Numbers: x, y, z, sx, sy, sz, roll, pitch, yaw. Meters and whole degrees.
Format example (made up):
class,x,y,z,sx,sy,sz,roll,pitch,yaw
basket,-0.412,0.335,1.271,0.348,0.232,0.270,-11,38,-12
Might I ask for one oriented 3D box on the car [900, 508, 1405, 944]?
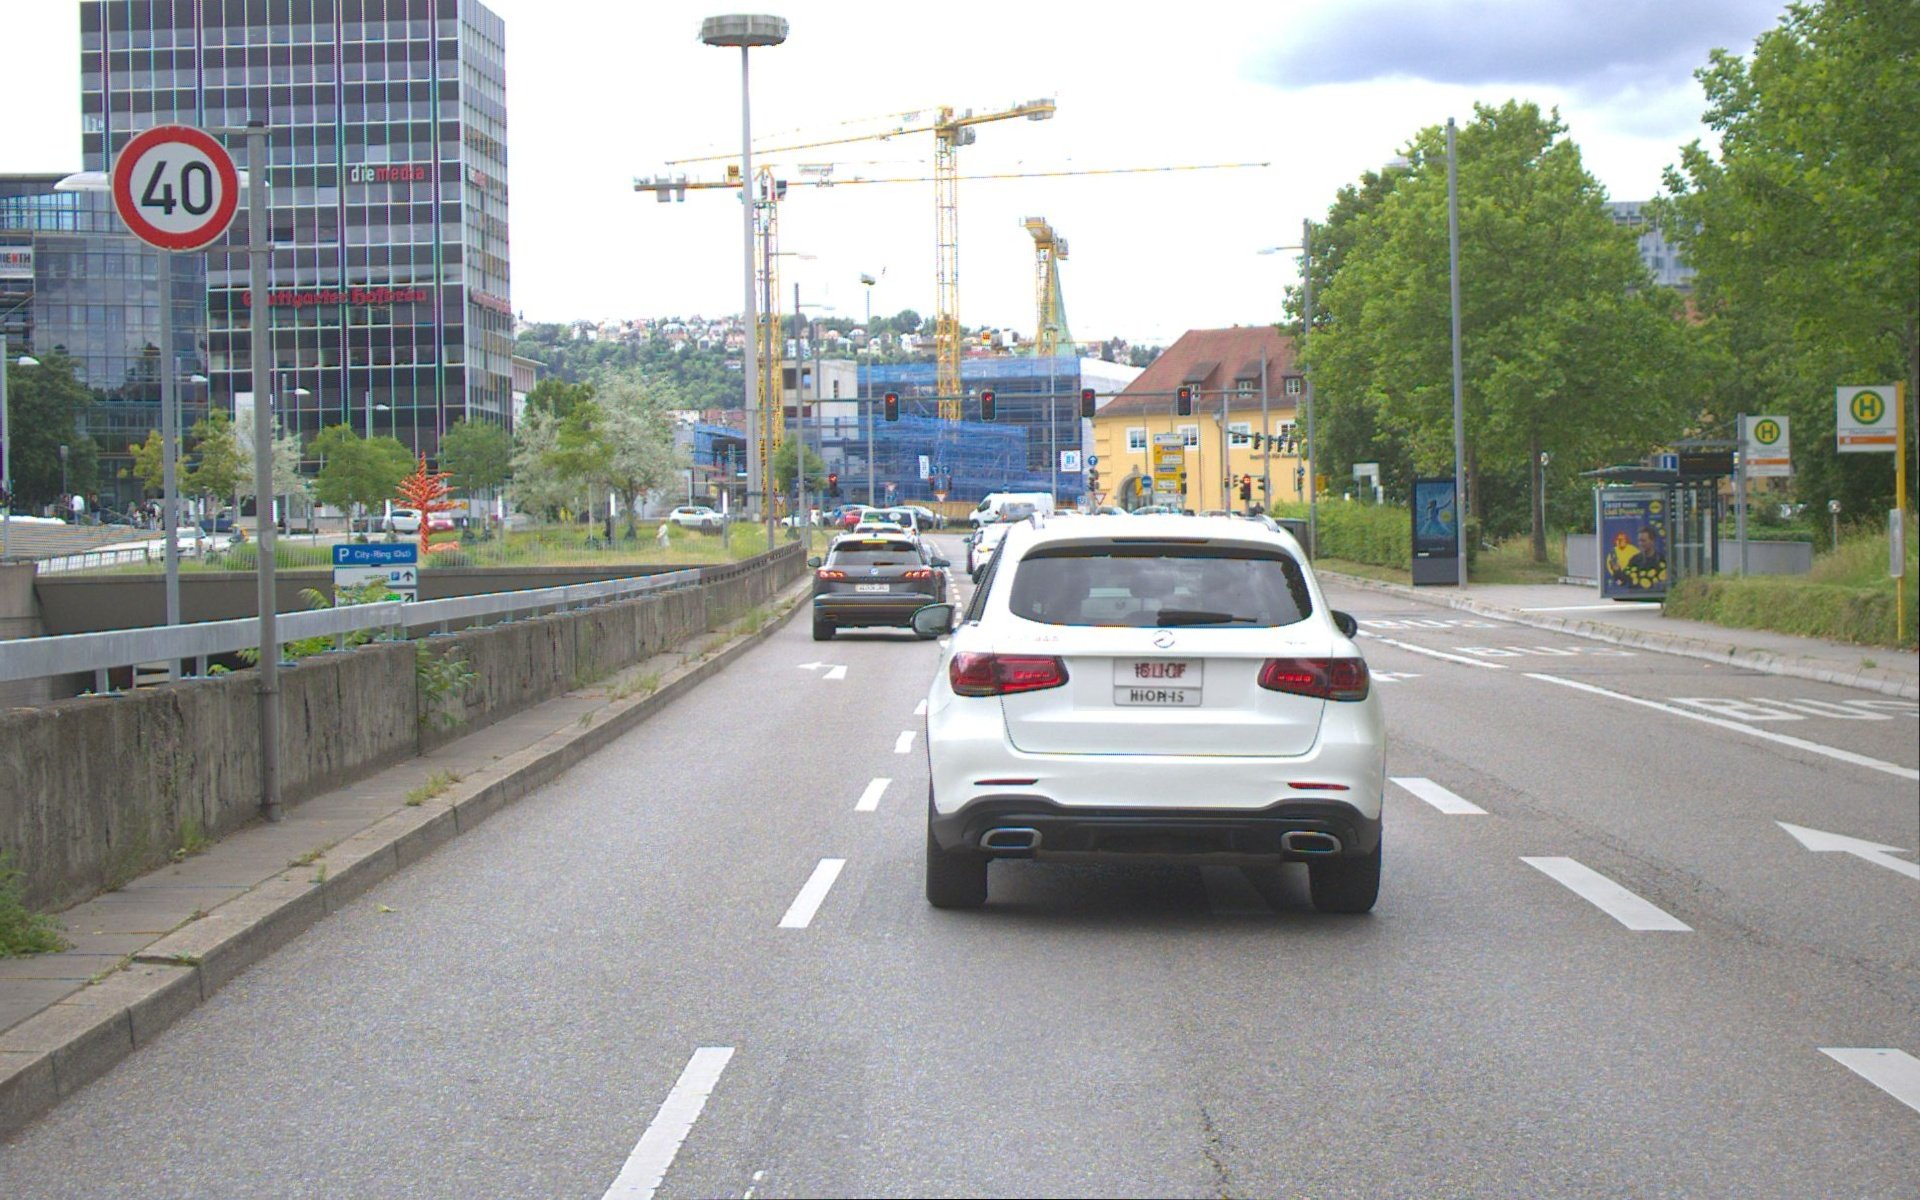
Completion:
class,x,y,z,sx,sy,sz,roll,pitch,yaw
car,0.771,0.467,15.272,1.940,1.678,4.000,0,1,1

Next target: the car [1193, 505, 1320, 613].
class,x,y,z,sx,sy,sz,roll,pitch,yaw
car,5.514,-0.763,64.440,1.977,1.887,4.707,2,0,1

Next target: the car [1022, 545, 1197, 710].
class,x,y,z,sx,sy,sz,roll,pitch,yaw
car,1.548,0.252,36.802,1.672,1.622,4.000,2,1,0

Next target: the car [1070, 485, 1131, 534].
class,x,y,z,sx,sy,sz,roll,pitch,yaw
car,4.744,-3.051,116.488,1.719,1.579,4.001,2,1,-2

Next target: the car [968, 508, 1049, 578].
class,x,y,z,sx,sy,sz,roll,pitch,yaw
car,1.287,-1.517,92.589,1.993,1.774,4.000,2,0,-1

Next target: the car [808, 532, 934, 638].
class,x,y,z,sx,sy,sz,roll,pitch,yaw
car,-1.404,-0.274,54.764,1.922,1.596,4.000,0,1,-1

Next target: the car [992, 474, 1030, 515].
class,x,y,z,sx,sy,sz,roll,pitch,yaw
car,2.673,-5.561,181.614,1.800,2.007,4.000,2,0,-1

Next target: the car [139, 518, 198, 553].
class,x,y,z,sx,sy,sz,roll,pitch,yaw
car,-34.819,-2.834,151.326,1.809,1.422,3.708,2,0,-2

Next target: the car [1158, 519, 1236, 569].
class,x,y,z,sx,sy,sz,roll,pitch,yaw
car,7.997,-1.890,116.363,1.993,1.612,4.001,2,0,-5

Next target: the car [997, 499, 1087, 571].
class,x,y,z,sx,sy,sz,roll,pitch,yaw
car,1.964,-1.560,83.431,1.993,1.656,4.000,2,0,-1

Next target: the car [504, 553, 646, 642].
class,x,y,z,sx,sy,sz,roll,pitch,yaw
car,-6.112,-0.068,54.946,1.719,1.288,4.000,2,1,1

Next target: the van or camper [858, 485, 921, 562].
class,x,y,z,sx,sy,sz,roll,pitch,yaw
van or camper,-2.222,-2.412,108.857,1.922,2.312,4.000,0,0,-1

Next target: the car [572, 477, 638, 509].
class,x,y,z,sx,sy,sz,roll,pitch,yaw
car,-23.763,-7.135,229.989,3.985,2.007,2.001,1,0,-17

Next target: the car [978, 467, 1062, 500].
class,x,y,z,sx,sy,sz,roll,pitch,yaw
car,4.008,-7.787,229.505,5.281,2.053,1.870,2,0,31
